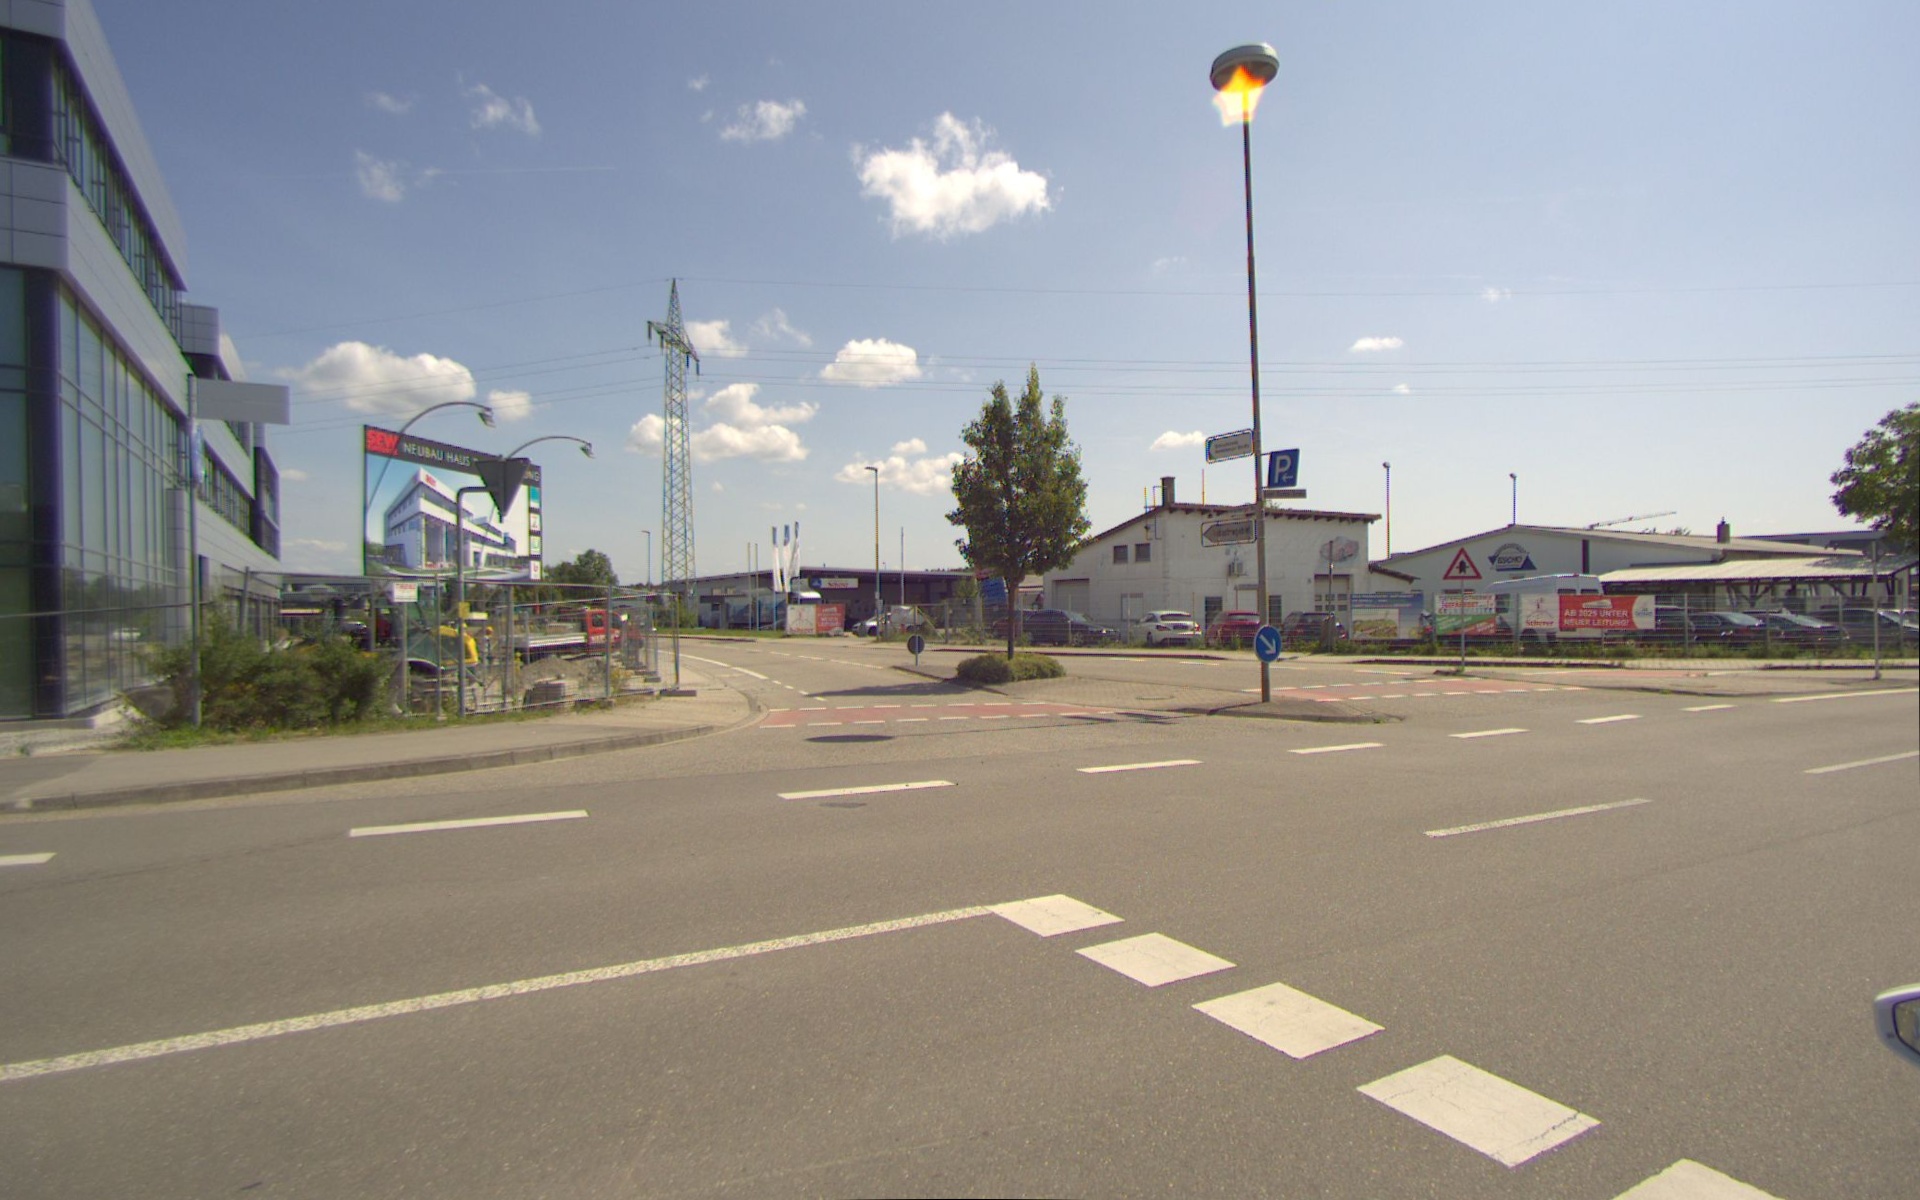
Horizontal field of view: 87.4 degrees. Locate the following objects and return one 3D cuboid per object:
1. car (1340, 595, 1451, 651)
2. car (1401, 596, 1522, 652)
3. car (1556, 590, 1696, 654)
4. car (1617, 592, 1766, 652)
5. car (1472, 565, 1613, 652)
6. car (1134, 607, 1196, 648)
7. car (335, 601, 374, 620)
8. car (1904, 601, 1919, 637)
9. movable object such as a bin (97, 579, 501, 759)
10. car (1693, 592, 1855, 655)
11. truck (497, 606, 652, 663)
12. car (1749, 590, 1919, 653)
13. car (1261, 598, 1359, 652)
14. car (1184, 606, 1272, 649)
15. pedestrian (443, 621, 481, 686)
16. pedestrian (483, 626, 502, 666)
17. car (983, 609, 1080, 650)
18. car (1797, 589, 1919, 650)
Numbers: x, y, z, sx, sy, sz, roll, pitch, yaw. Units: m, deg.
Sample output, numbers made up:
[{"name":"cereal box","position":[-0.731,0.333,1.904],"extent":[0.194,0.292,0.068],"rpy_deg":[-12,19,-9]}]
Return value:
[{"name":"car","position":[14.449,0.712,33.603],"extent":[1.961,1.702,3.999],"rpy_deg":[-1,1,0]},{"name":"car","position":[16.576,0.737,33.439],"extent":[1.961,1.676,3.998],"rpy_deg":[-1,1,-2]},{"name":"car","position":[21.658,0.662,32.873],"extent":[1.960,1.929,4.000],"rpy_deg":[-1,1,0]},{"name":"car","position":[23.689,0.656,32.725],"extent":[1.960,1.805,4.000],"rpy_deg":[-1,1,0]},{"name":"car","position":[19.095,0.293,33.176],"extent":[1.961,2.643,4.364],"rpy_deg":[1,-1,-3]},{"name":"car","position":[7.396,0.970,36.507],"extent":[1.691,1.356,3.934],"rpy_deg":[1,-1,4]},{"name":"car","position":[-73.241,1.279,121.513],"extent":[3.959,2.185,1.981],"rpy_deg":[0,0,-35]},{"name":"car","position":[52.038,1.015,52.424],"extent":[1.821,1.875,3.951],"rpy_deg":[0,0,-42]},{"name":"movable object such as a bin","position":[-11.551,1.164,17.934],"extent":[5.697,2.734,2.053],"rpy_deg":[3,-2,-43]},{"name":"car","position":[26.749,0.712,33.203],"extent":[1.962,1.929,3.997],"rpy_deg":[-1,1,-4]},{"name":"truck","position":[-16.915,1.445,44.484],"extent":[2.468,2.217,6.089],"rpy_deg":[0,1,34]},{"name":"car","position":[28.954,0.642,33.456],"extent":[1.963,1.929,3.994],"rpy_deg":[-1,1,-8]},{"name":"car","position":[11.870,0.796,34.349],"extent":[1.961,1.676,3.999],"rpy_deg":[-1,1,0]},{"name":"car","position":[9.304,0.922,35.164],"extent":[1.961,1.394,4.000],"rpy_deg":[1,-1,-1]},{"name":"pedestrian","position":[-14.834,1.585,29.944],"extent":[0.994,1.878,0.829],"rpy_deg":[0,0,-27]},{"name":"pedestrian","position":[-18.653,1.827,40.071],"extent":[0.439,1.539,0.525],"rpy_deg":[0,0,34]},{"name":"car","position":[2.891,1.159,41.376],"extent":[1.979,1.534,3.962],"rpy_deg":[-1,1,-34]},{"name":"car","position":[31.340,0.597,34.259],"extent":[1.964,1.929,3.993],"rpy_deg":[-1,1,-10]}]
